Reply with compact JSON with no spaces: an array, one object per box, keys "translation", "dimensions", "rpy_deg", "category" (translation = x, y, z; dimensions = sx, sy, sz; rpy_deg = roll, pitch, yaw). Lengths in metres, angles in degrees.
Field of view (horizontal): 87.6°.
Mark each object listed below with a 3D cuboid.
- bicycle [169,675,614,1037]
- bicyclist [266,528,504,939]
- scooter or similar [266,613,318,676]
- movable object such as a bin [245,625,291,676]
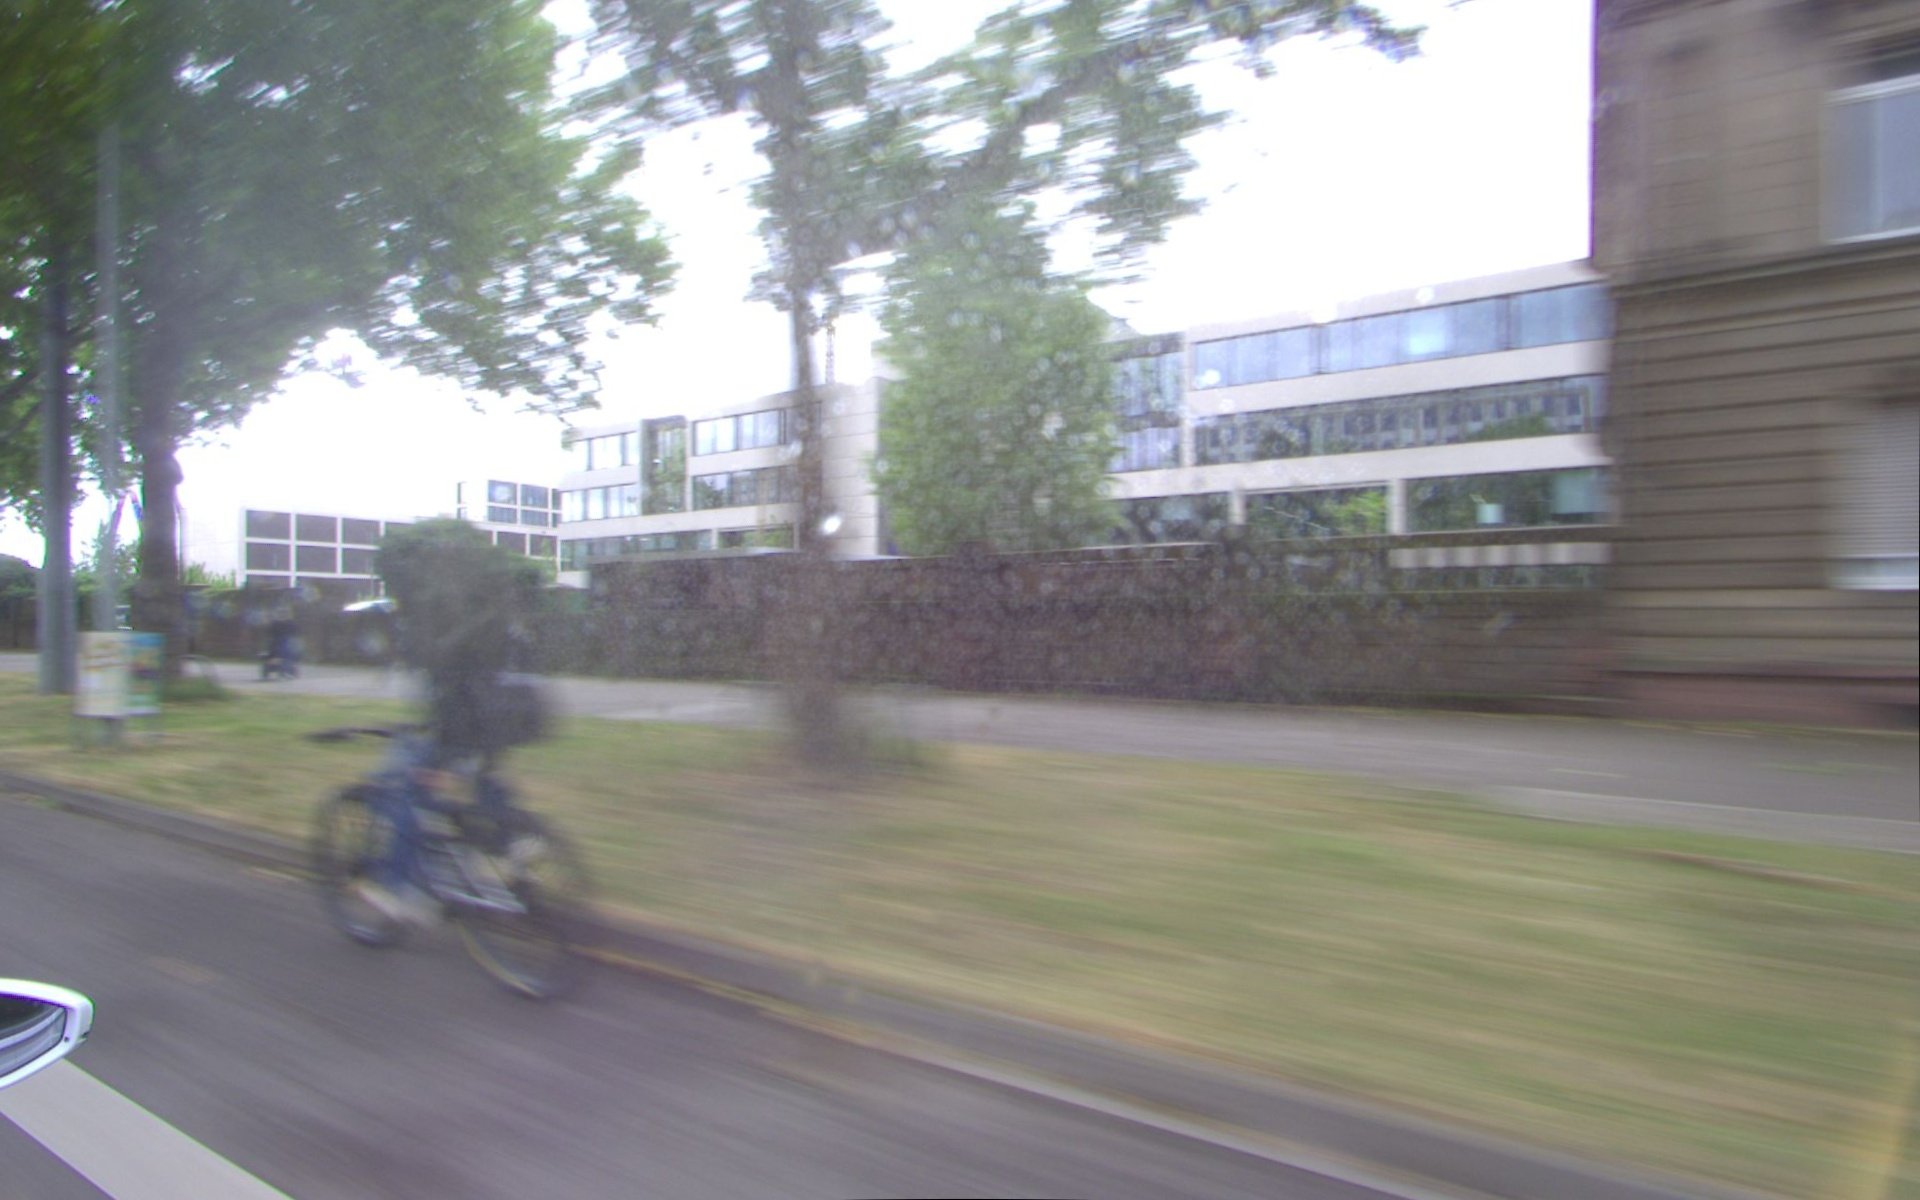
[{"translation":[-2.505,0.941,4.292],"dimensions":[2.250,1.165,0.651],"rpy_deg":[-1,-1,31],"category":"bicycle"},{"translation":[-2.417,0.516,4.230],"dimensions":[0.655,1.550,0.640],"rpy_deg":[-1,-1,31],"category":"bicyclist"},{"translation":[-15.004,0.997,22.484],"dimensions":[1.139,1.371,0.575],"rpy_deg":[-1,-1,32],"category":"scooter or similar"},{"translation":[-15.998,1.158,23.150],"dimensions":[1.002,1.127,0.609],"rpy_deg":[0,0,39],"category":"movable object such as a bin"}]
